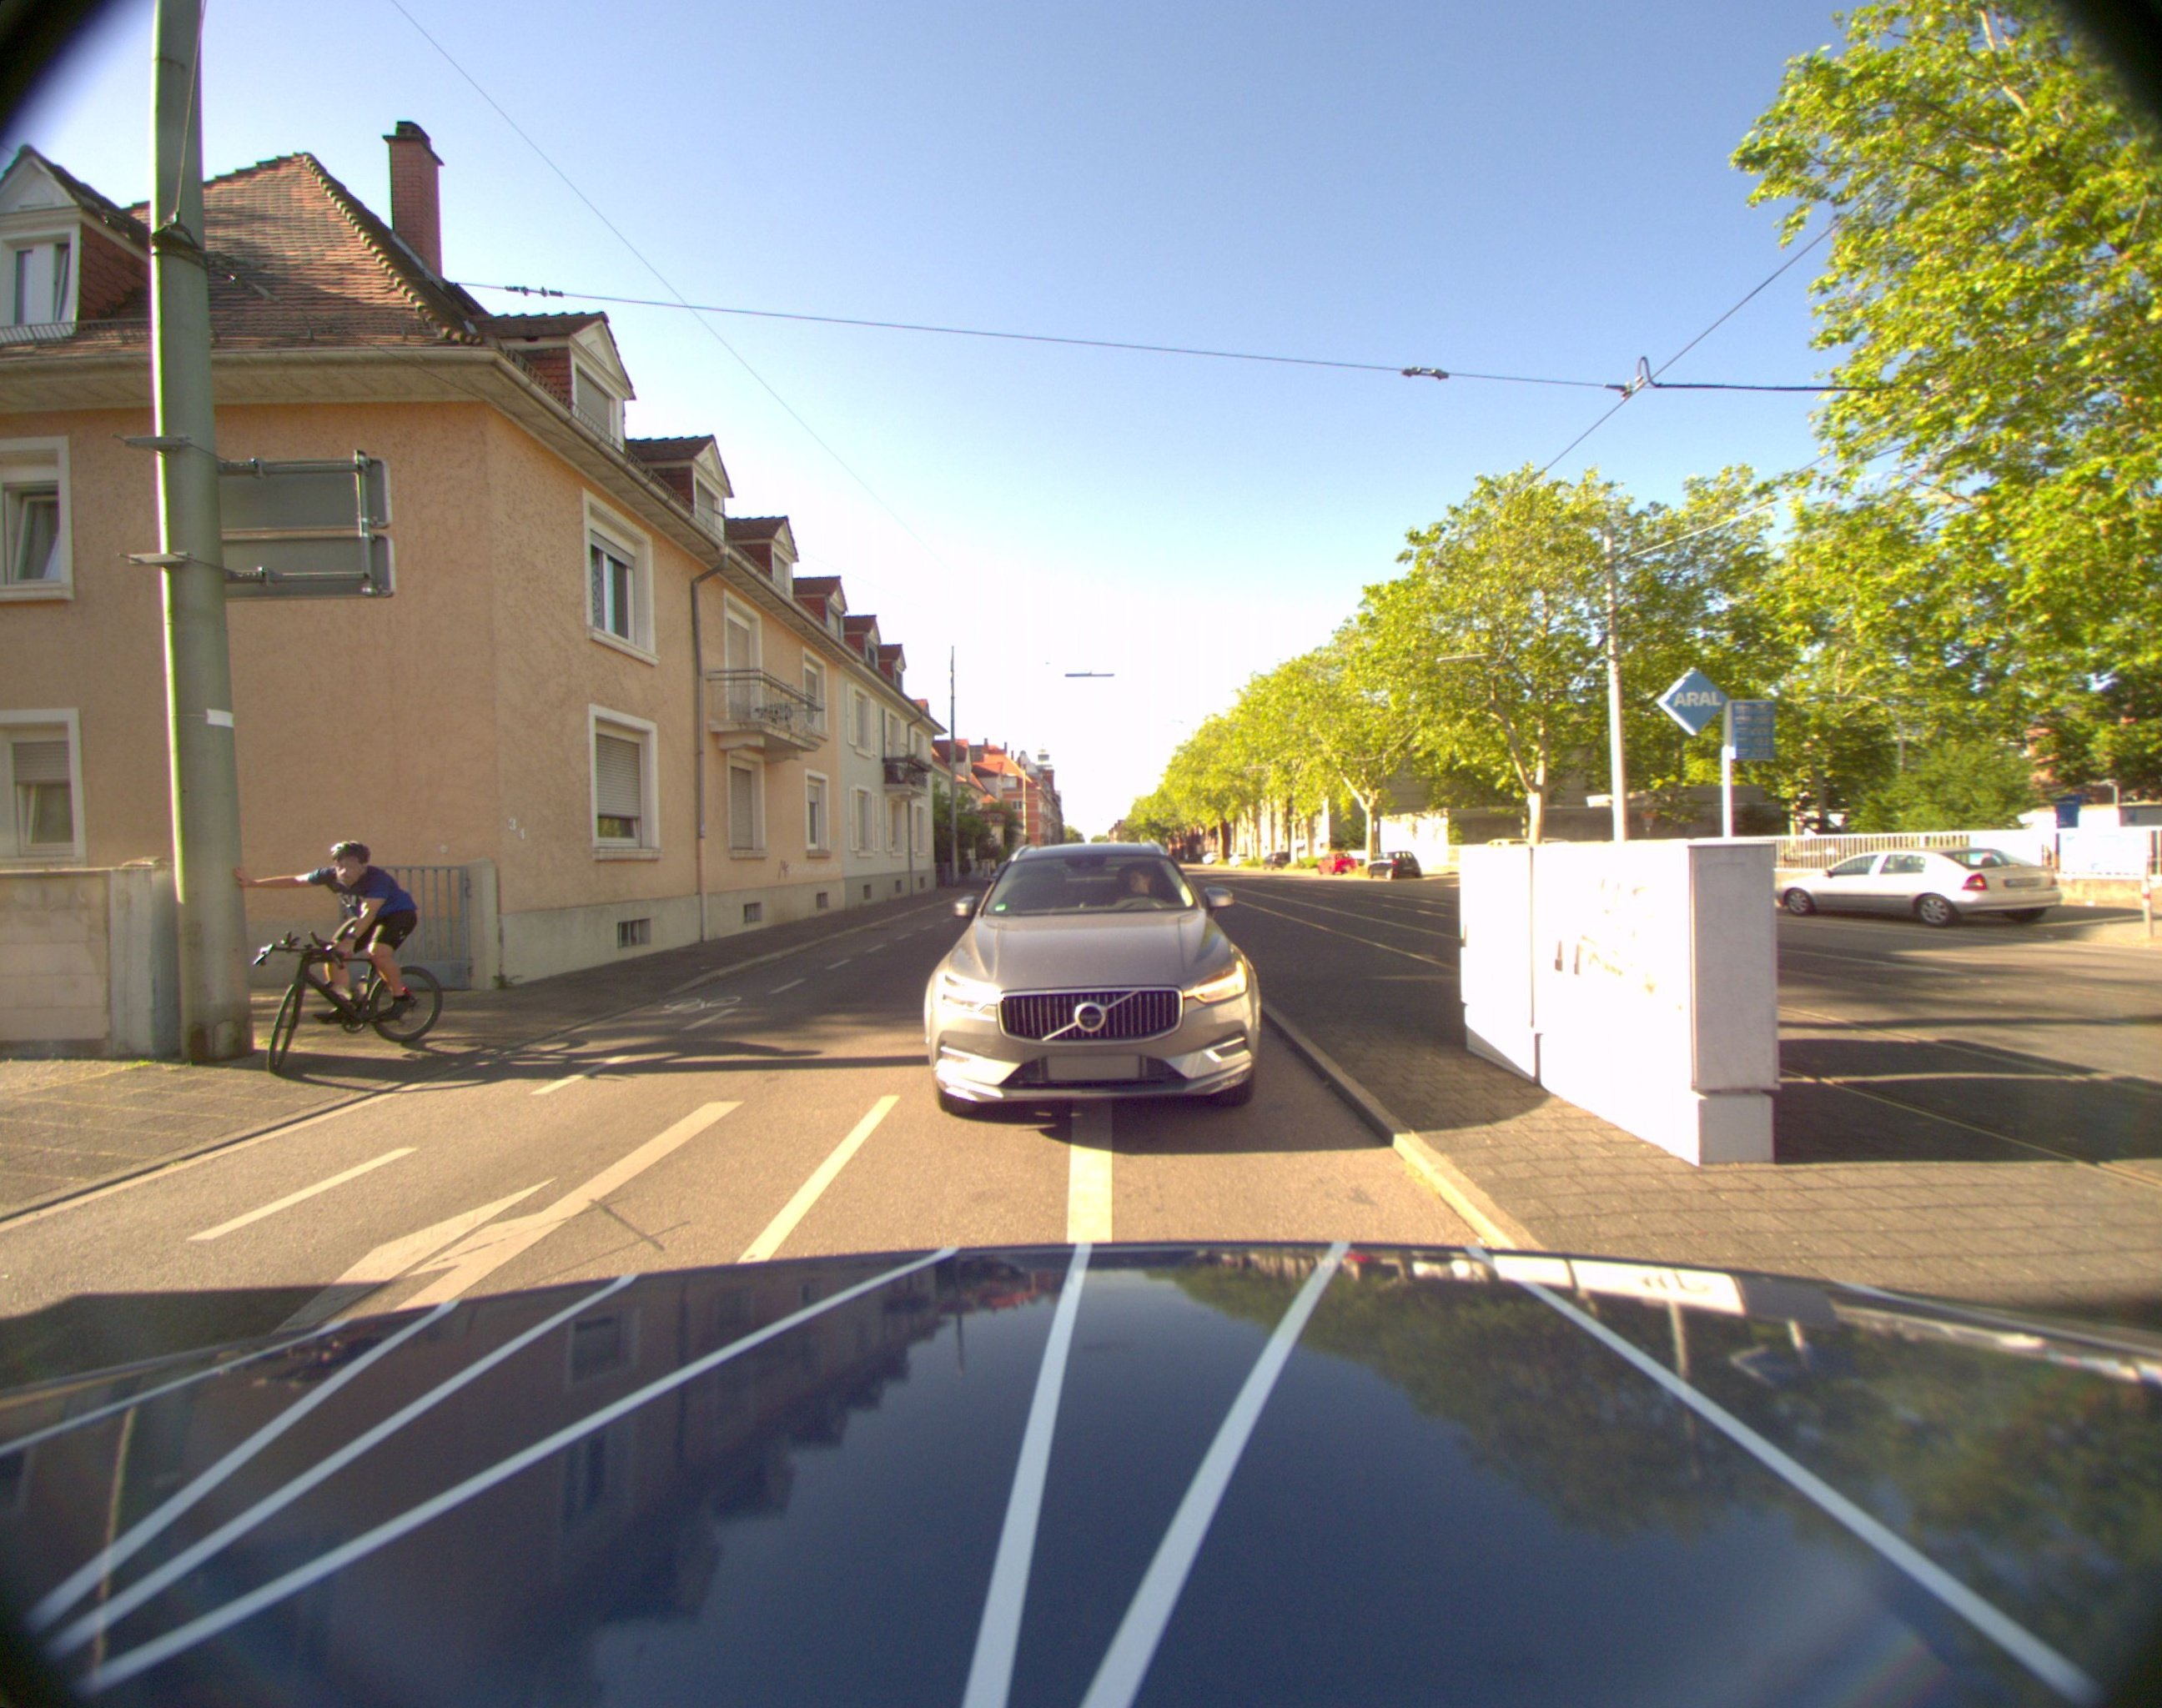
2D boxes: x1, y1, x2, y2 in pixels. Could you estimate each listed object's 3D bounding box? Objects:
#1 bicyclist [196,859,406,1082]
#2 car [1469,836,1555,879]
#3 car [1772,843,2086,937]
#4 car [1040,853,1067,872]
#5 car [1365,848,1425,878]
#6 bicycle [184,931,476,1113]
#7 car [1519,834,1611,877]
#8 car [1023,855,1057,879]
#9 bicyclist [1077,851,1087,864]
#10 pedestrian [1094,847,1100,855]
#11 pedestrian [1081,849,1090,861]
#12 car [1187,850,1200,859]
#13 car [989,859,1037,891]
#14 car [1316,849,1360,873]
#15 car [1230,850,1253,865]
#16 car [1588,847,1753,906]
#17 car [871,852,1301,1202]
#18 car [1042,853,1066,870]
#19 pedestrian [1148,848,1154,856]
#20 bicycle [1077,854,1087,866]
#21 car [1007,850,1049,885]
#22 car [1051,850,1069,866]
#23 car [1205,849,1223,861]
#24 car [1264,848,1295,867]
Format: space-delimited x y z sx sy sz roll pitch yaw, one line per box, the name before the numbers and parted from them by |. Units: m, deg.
bicyclist | -6.145 0.859 6.058 0.562 1.607 1.016 -1 1 1
car | 21.814 0.168 38.645 1.999 2.002 3.999 -1 0 -1
car | 16.240 0.609 14.912 1.847 1.477 3.858 -4 0 2
car | -2.129 0.667 60.062 1.867 1.399 4.078 -1 0 1
car | 16.894 0.458 41.047 1.758 1.449 3.858 -3 0 3
bicycle | -6.016 1.275 6.259 0.550 1.056 1.794 4 0 1
car | 24.162 0.079 38.105 1.999 2.002 3.999 -1 0 -1
car | -2.575 0.814 48.503 1.867 1.399 4.078 -1 0 1
bicyclist | 0.087 0.379 85.016 1.054 1.496 1.250 -1 1 1
pedestrian | 5.143 -0.868 244.676 1.791 2.481 1.901 -1 1 2
pedestrian | 0.815 0.196 130.841 1.457 2.002 1.193 -1 1 0
car | 18.513 0.053 125.298 1.758 1.475 3.858 -3 0 3
car | -3.234 0.965 37.081 1.867 1.399 4.424 -1 0 1
car | 16.907 0.450 50.189 1.717 1.421 3.858 -3 0 3
car | 17.582 0.353 83.348 1.758 1.475 3.858 -3 0 3
car | 16.481 0.569 21.519 1.745 1.389 3.858 -4 0 3
car | 0.058 0.818 5.936 1.998 1.609 4.697 -1 0 1
car | -2.350 0.620 66.367 1.867 1.399 4.078 -1 0 1
pedestrian | 19.601 -0.553 213.141 1.686 2.002 1.761 -1 1 1
bicycle | 0.111 0.657 85.044 1.054 1.262 3.914 -1 0 1
car | -2.911 0.702 42.836 1.867 1.778 5.297 -1 0 1
car | -2.321 0.430 85.456 1.867 1.653 4.078 -1 0 1
car | 17.676 0.161 100.941 1.758 1.475 3.858 -3 0 3
car | 17.176 0.292 65.920 1.758 1.536 3.858 -3 0 3
